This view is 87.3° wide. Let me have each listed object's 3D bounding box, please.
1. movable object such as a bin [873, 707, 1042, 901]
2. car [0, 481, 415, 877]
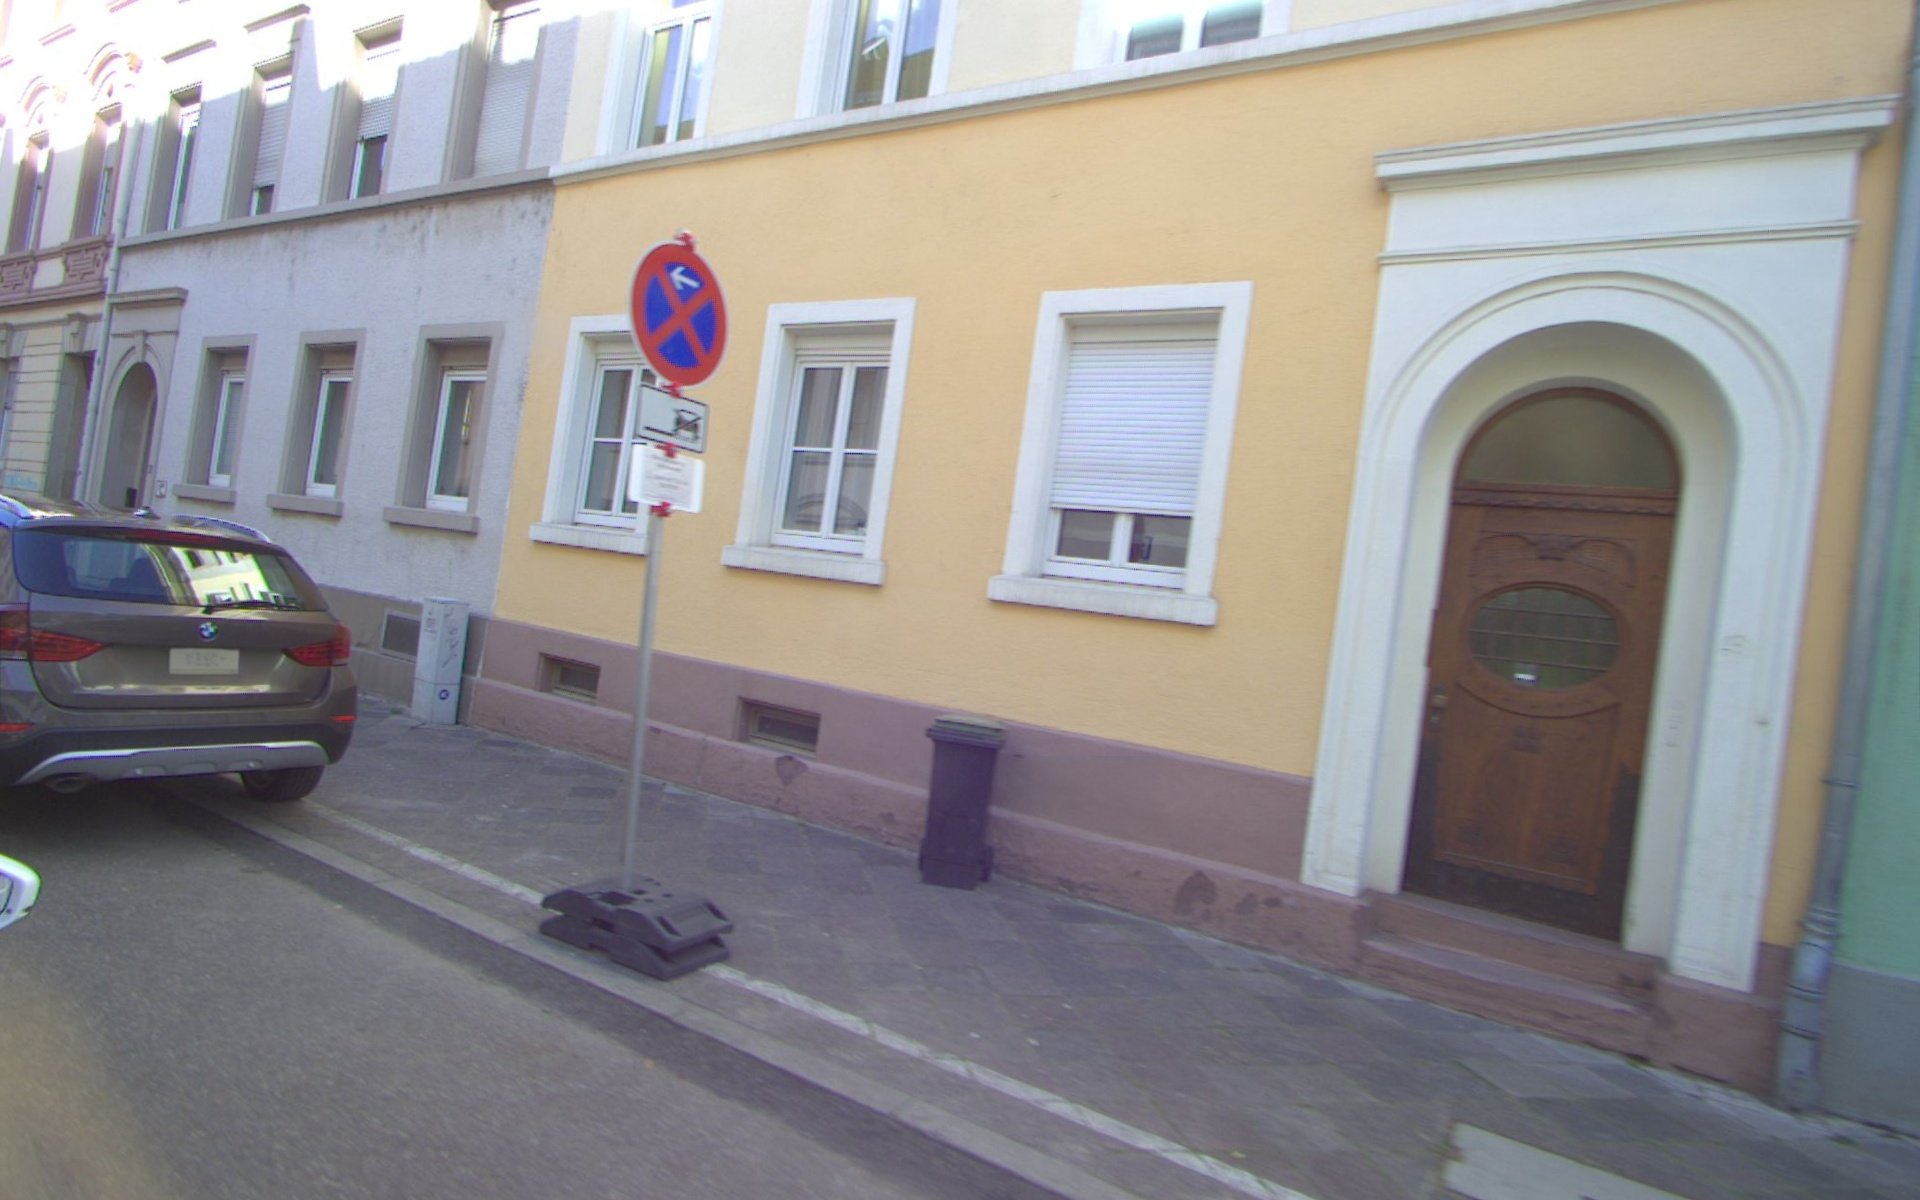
[{"bbox_3d":[0.000,1.142,5.831,0.631,0.946,0.655,7,-1,29],"label":"movable object such as a bin"},{"bbox_3d":[-5.308,0.157,5.774,4.304,1.595,1.743,8,-1,31],"label":"car"}]
